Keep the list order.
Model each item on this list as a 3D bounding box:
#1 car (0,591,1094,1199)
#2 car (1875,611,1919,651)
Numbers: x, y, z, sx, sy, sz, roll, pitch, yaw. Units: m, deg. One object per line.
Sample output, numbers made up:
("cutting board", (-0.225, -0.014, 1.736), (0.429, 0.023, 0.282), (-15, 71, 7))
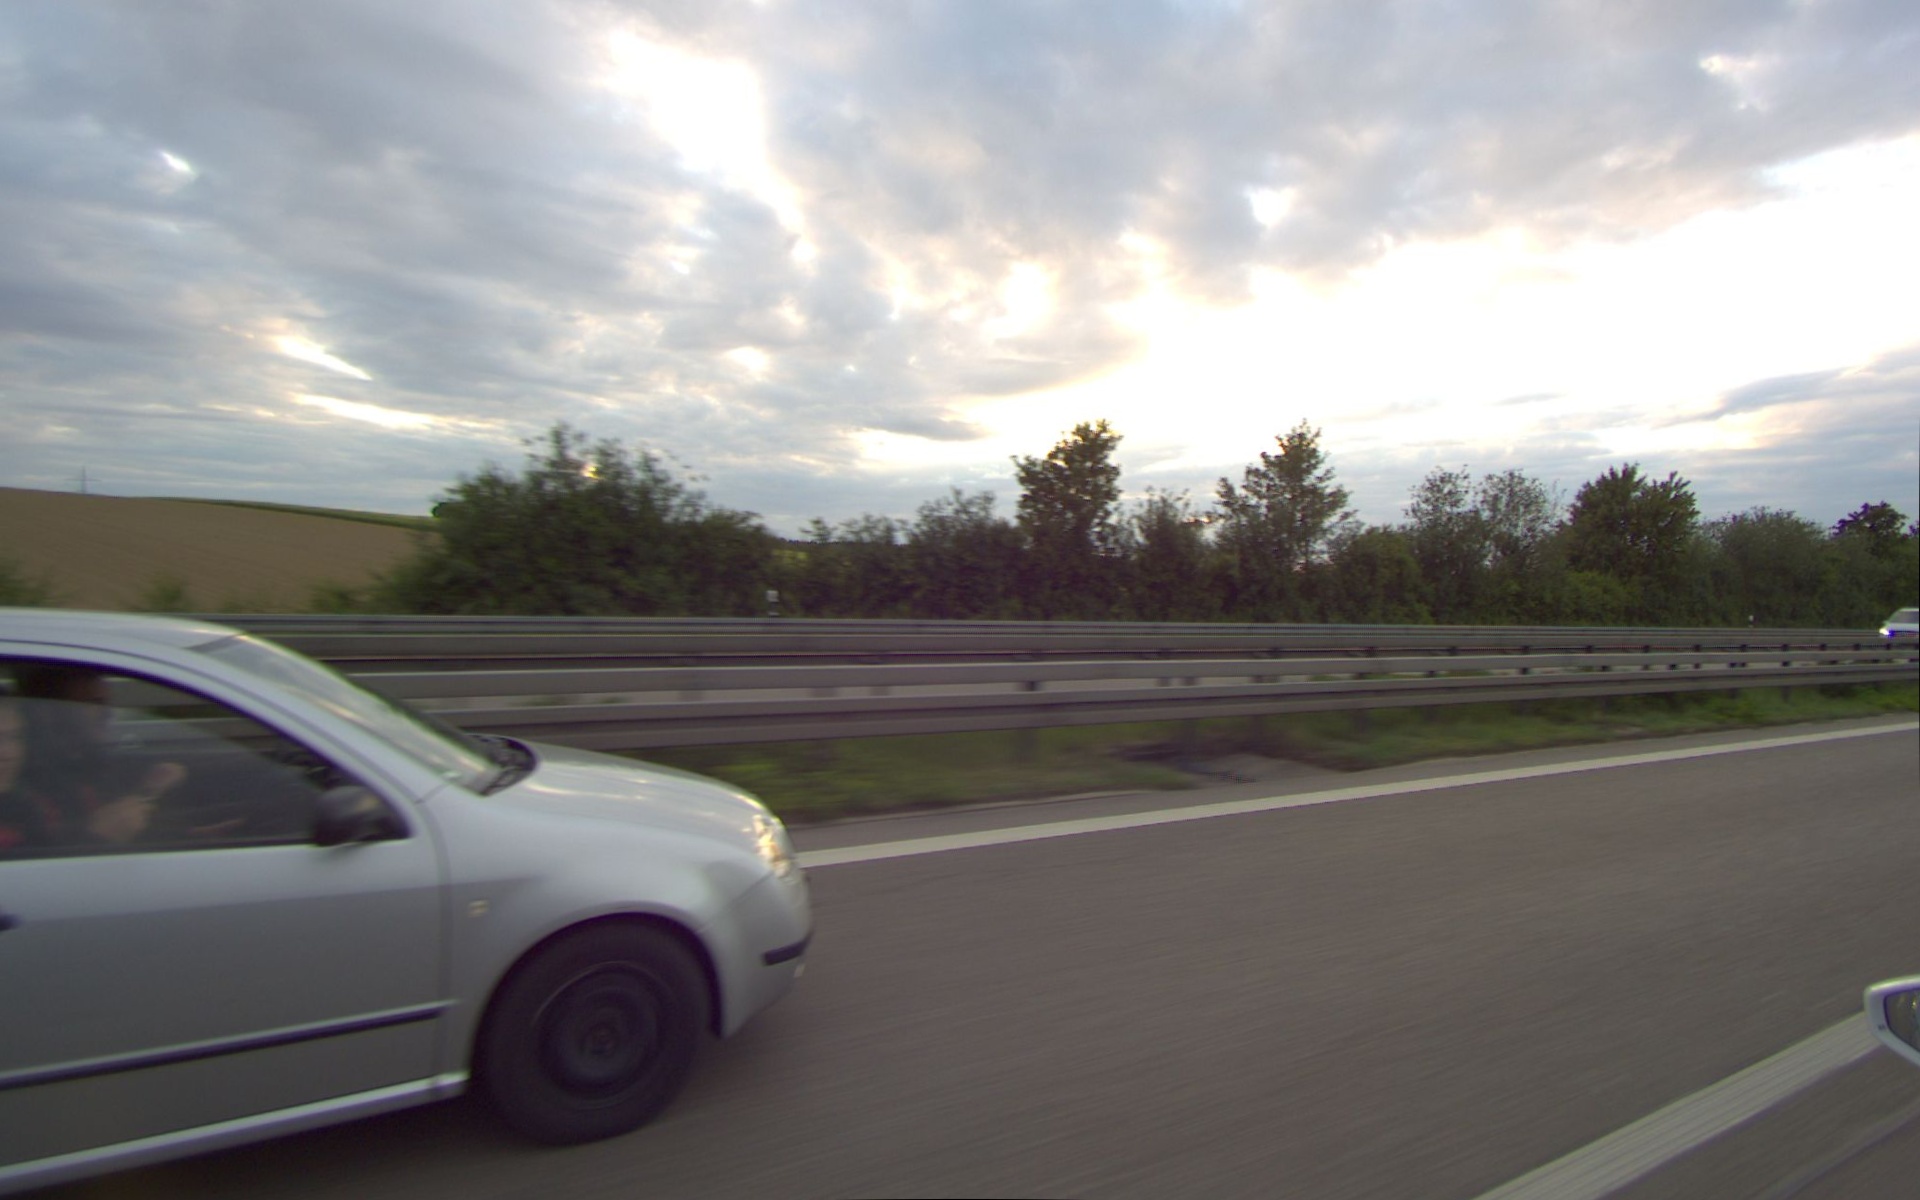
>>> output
("car", (-1.900, 0.699, 2.960), (4.548, 1.408, 1.580), (1, 0, -31))
("car", (44.033, 1.385, 45.617), (5.668, 1.649, 1.984), (1, 3, -30))
